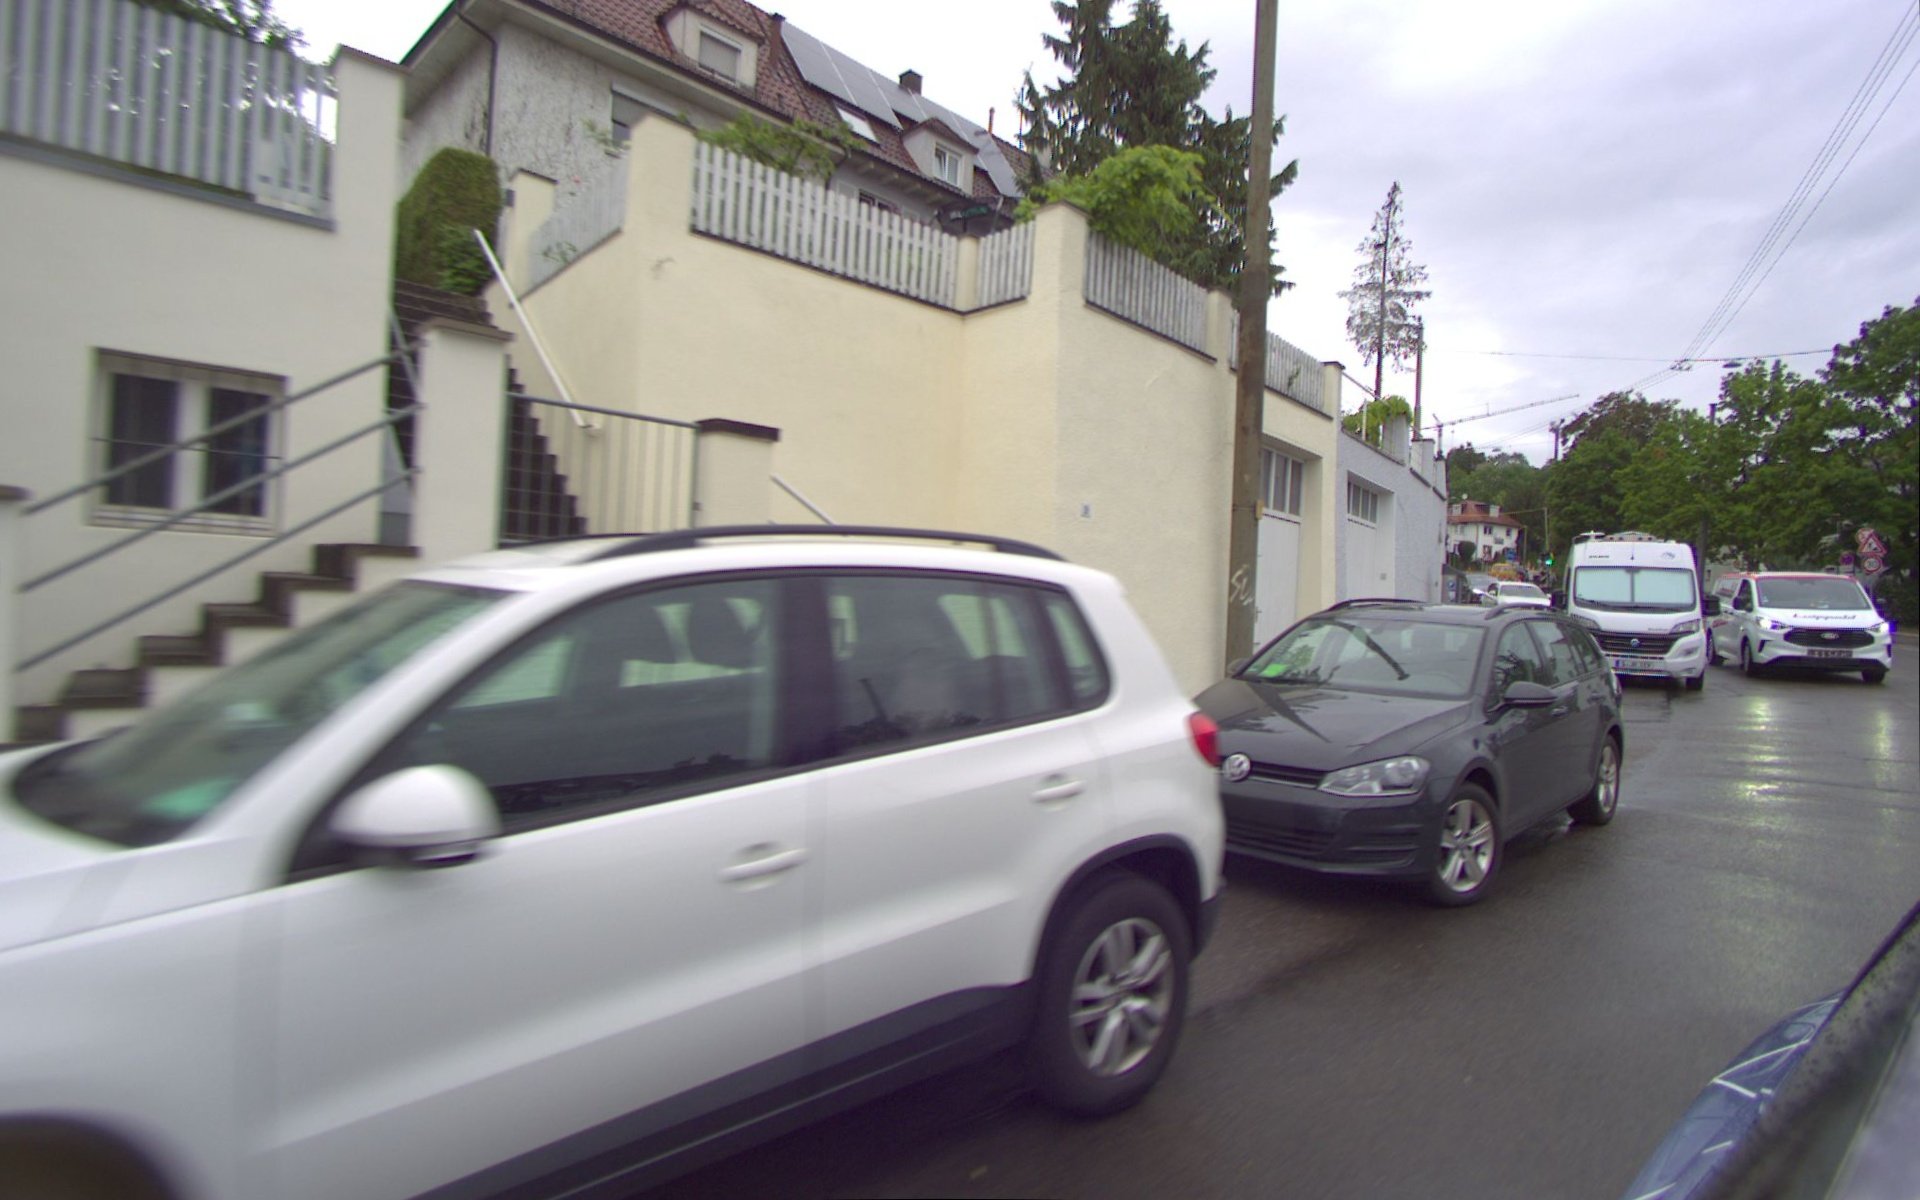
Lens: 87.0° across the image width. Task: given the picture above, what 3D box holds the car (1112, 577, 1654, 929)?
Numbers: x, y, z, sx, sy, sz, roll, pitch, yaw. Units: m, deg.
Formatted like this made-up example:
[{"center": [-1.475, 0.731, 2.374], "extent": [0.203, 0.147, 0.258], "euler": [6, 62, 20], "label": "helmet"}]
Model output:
[{"center": [2.888, 0.622, 6.374], "extent": [4.132, 1.502, 1.680], "euler": [-1, 1, -44], "label": "car"}]

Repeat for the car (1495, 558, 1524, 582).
[{"center": [49.411, -2.714, 90.952], "extent": [1.797, 1.950, 4.526], "euler": [6, 6, 32], "label": "car"}]

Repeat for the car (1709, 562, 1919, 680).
[{"center": [16.088, 0.306, 19.309], "extent": [2.022, 1.963, 4.476], "euler": [1, 1, 25], "label": "car"}]

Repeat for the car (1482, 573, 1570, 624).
[{"center": [19.007, -0.111, 34.147], "extent": [1.688, 1.431, 4.021], "euler": [4, 4, 17], "label": "car"}]

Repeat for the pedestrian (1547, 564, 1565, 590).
[{"center": [42.760, -1.636, 72.598], "extent": [0.699, 1.839, 1.143], "euler": [2, 2, 13], "label": "pedestrian"}]

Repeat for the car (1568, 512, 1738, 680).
[{"center": [12.476, -0.184, 18.596], "extent": [2.090, 2.573, 5.559], "euler": [4, 4, 31], "label": "car"}]

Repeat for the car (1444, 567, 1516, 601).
[{"center": [25.966, -0.828, 50.703], "extent": [1.959, 1.453, 4.502], "euler": [3, 3, 11], "label": "car"}]

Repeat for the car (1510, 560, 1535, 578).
[{"center": [55.746, -3.086, 100.245], "extent": [1.715, 1.627, 4.409], "euler": [4, 5, 34], "label": "car"}]

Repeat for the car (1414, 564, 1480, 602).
[{"center": [22.699, -0.826, 47.360], "extent": [1.692, 1.531, 3.990], "euler": [4, 4, 10], "label": "car"}]

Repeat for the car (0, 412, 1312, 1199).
[{"center": [-1.009, 0.568, 2.700], "extent": [4.135, 1.670, 1.807], "euler": [0, 1, -40], "label": "car"}]
